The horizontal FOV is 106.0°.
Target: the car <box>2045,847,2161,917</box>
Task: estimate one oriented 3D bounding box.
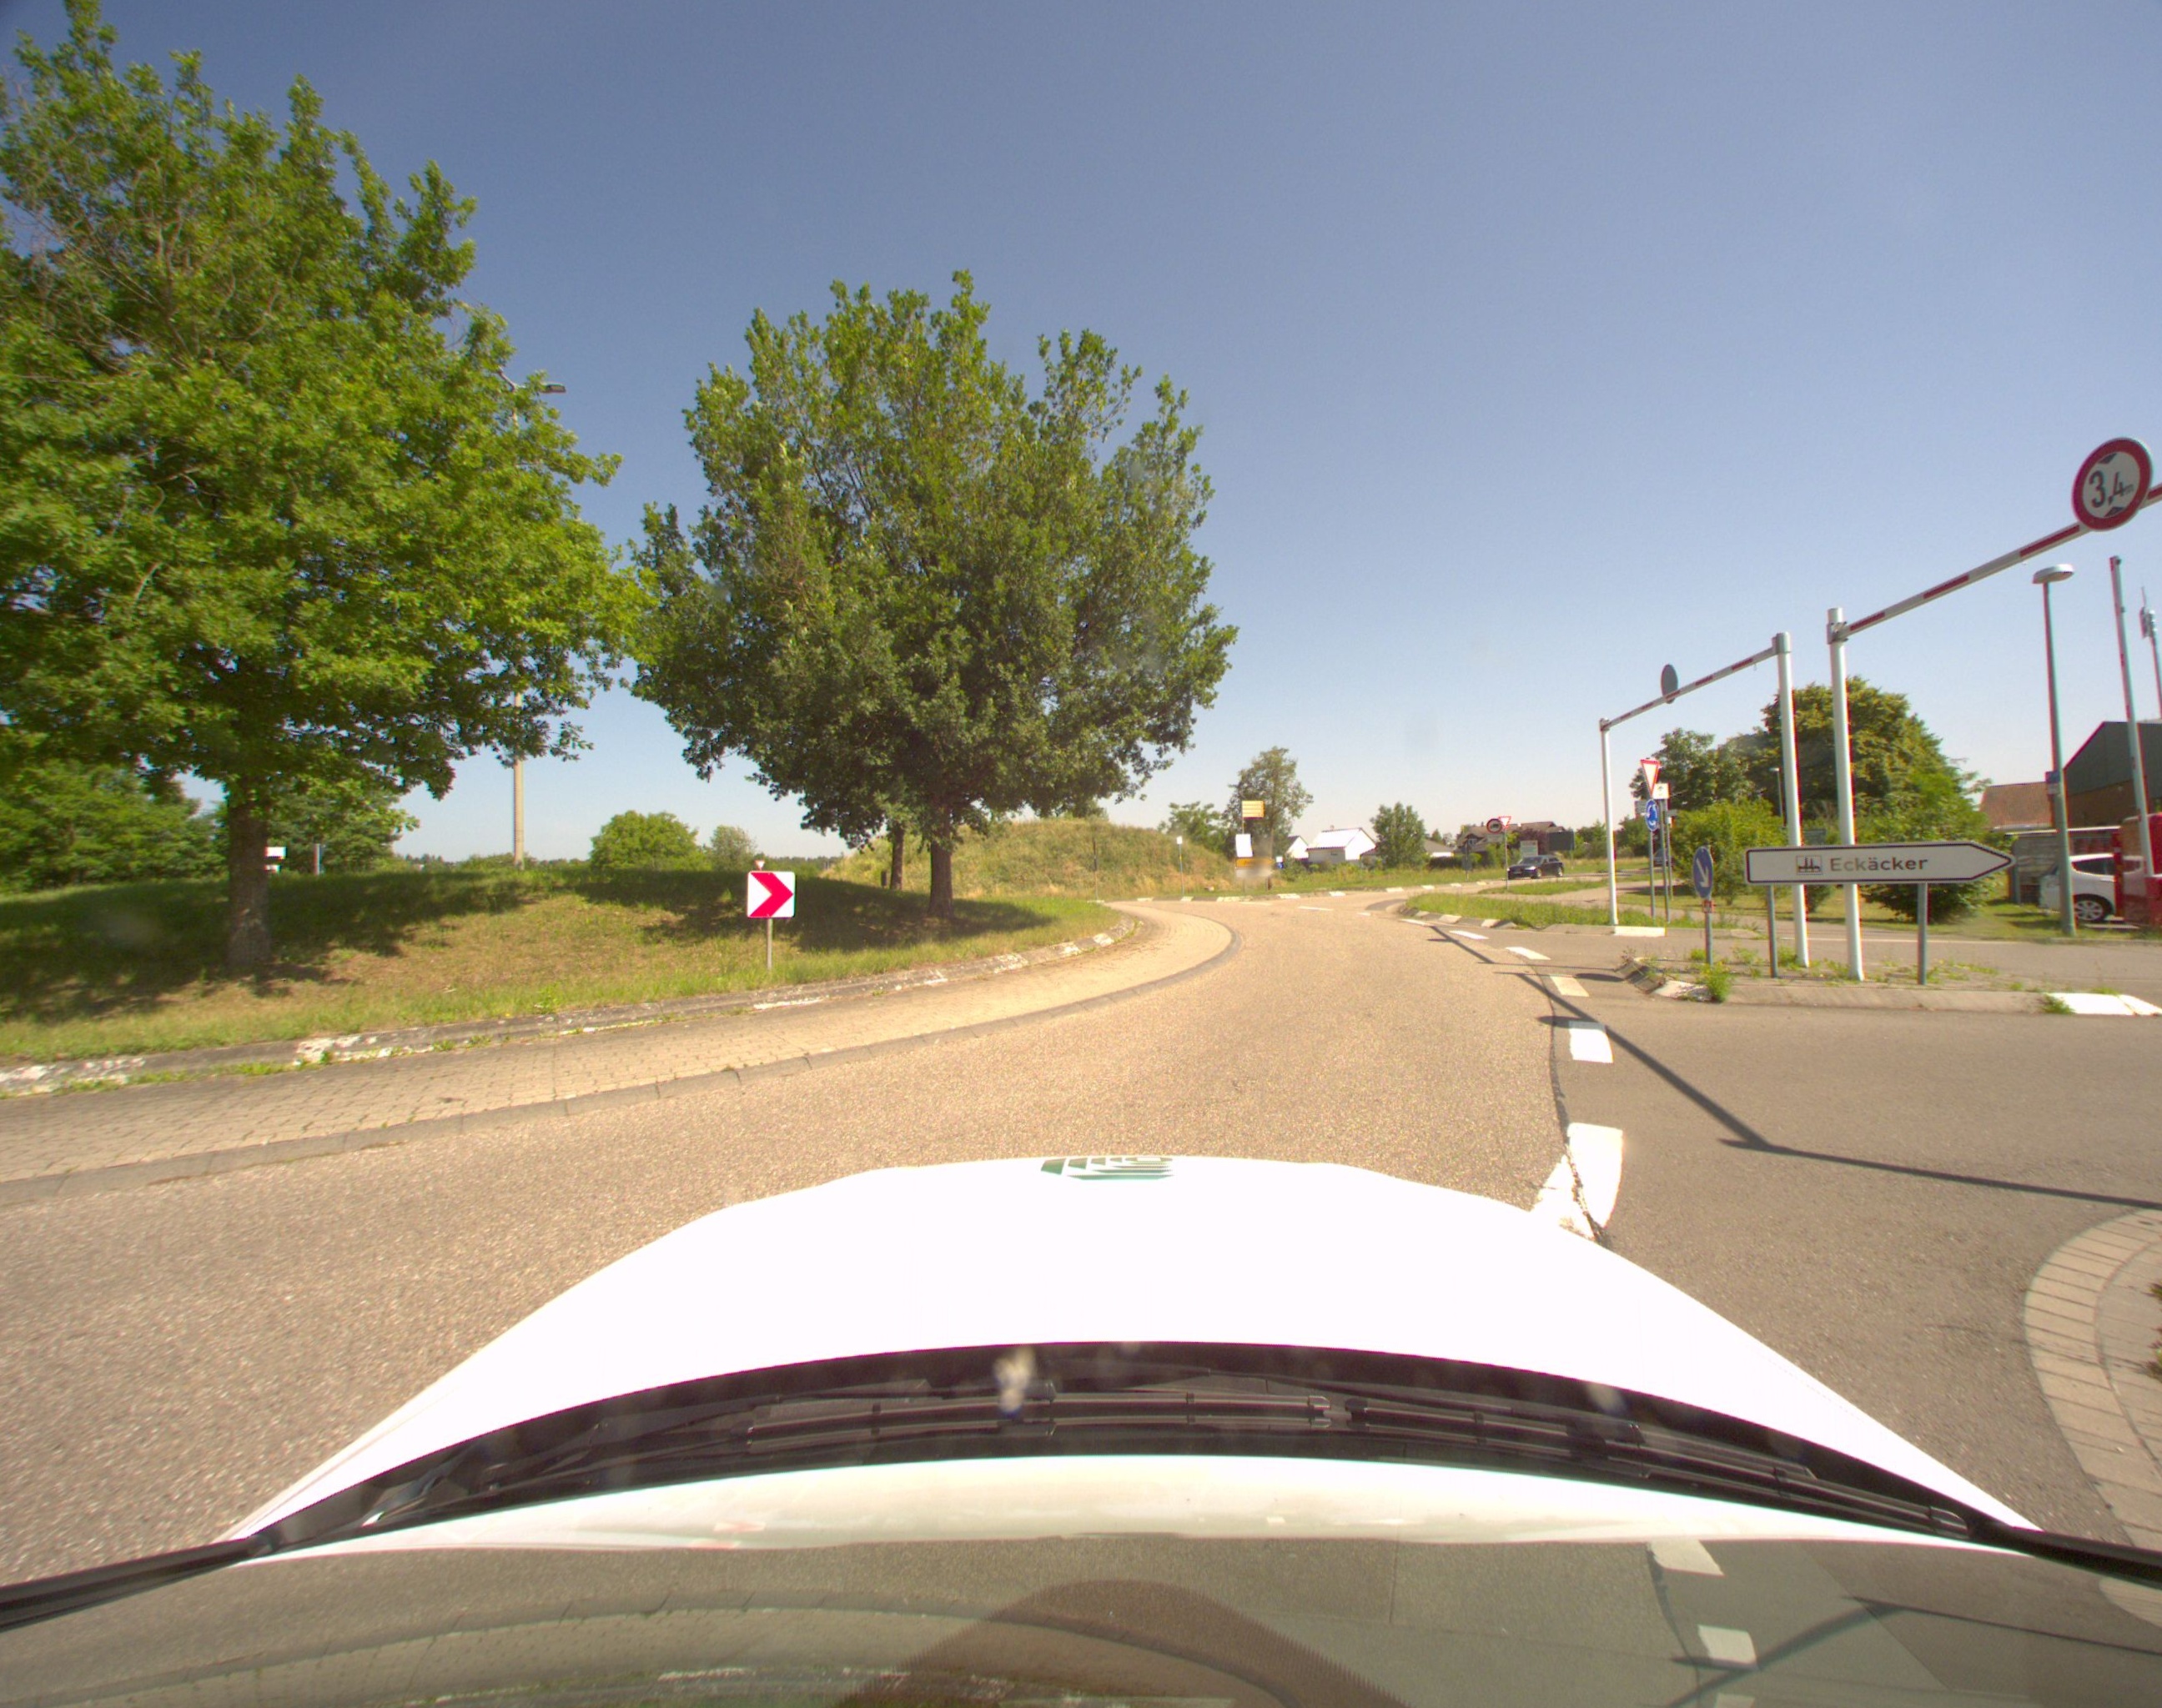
[{"bbox_3d":[23.351,0.567,17.237,1.735,1.446,3.726,-1,0,-42],"label":"car"}]

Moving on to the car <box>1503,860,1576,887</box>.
[{"bbox_3d":[28.715,1.218,50.986,4.931,1.434,1.903,-1,-5,-34],"label":"car"}]
